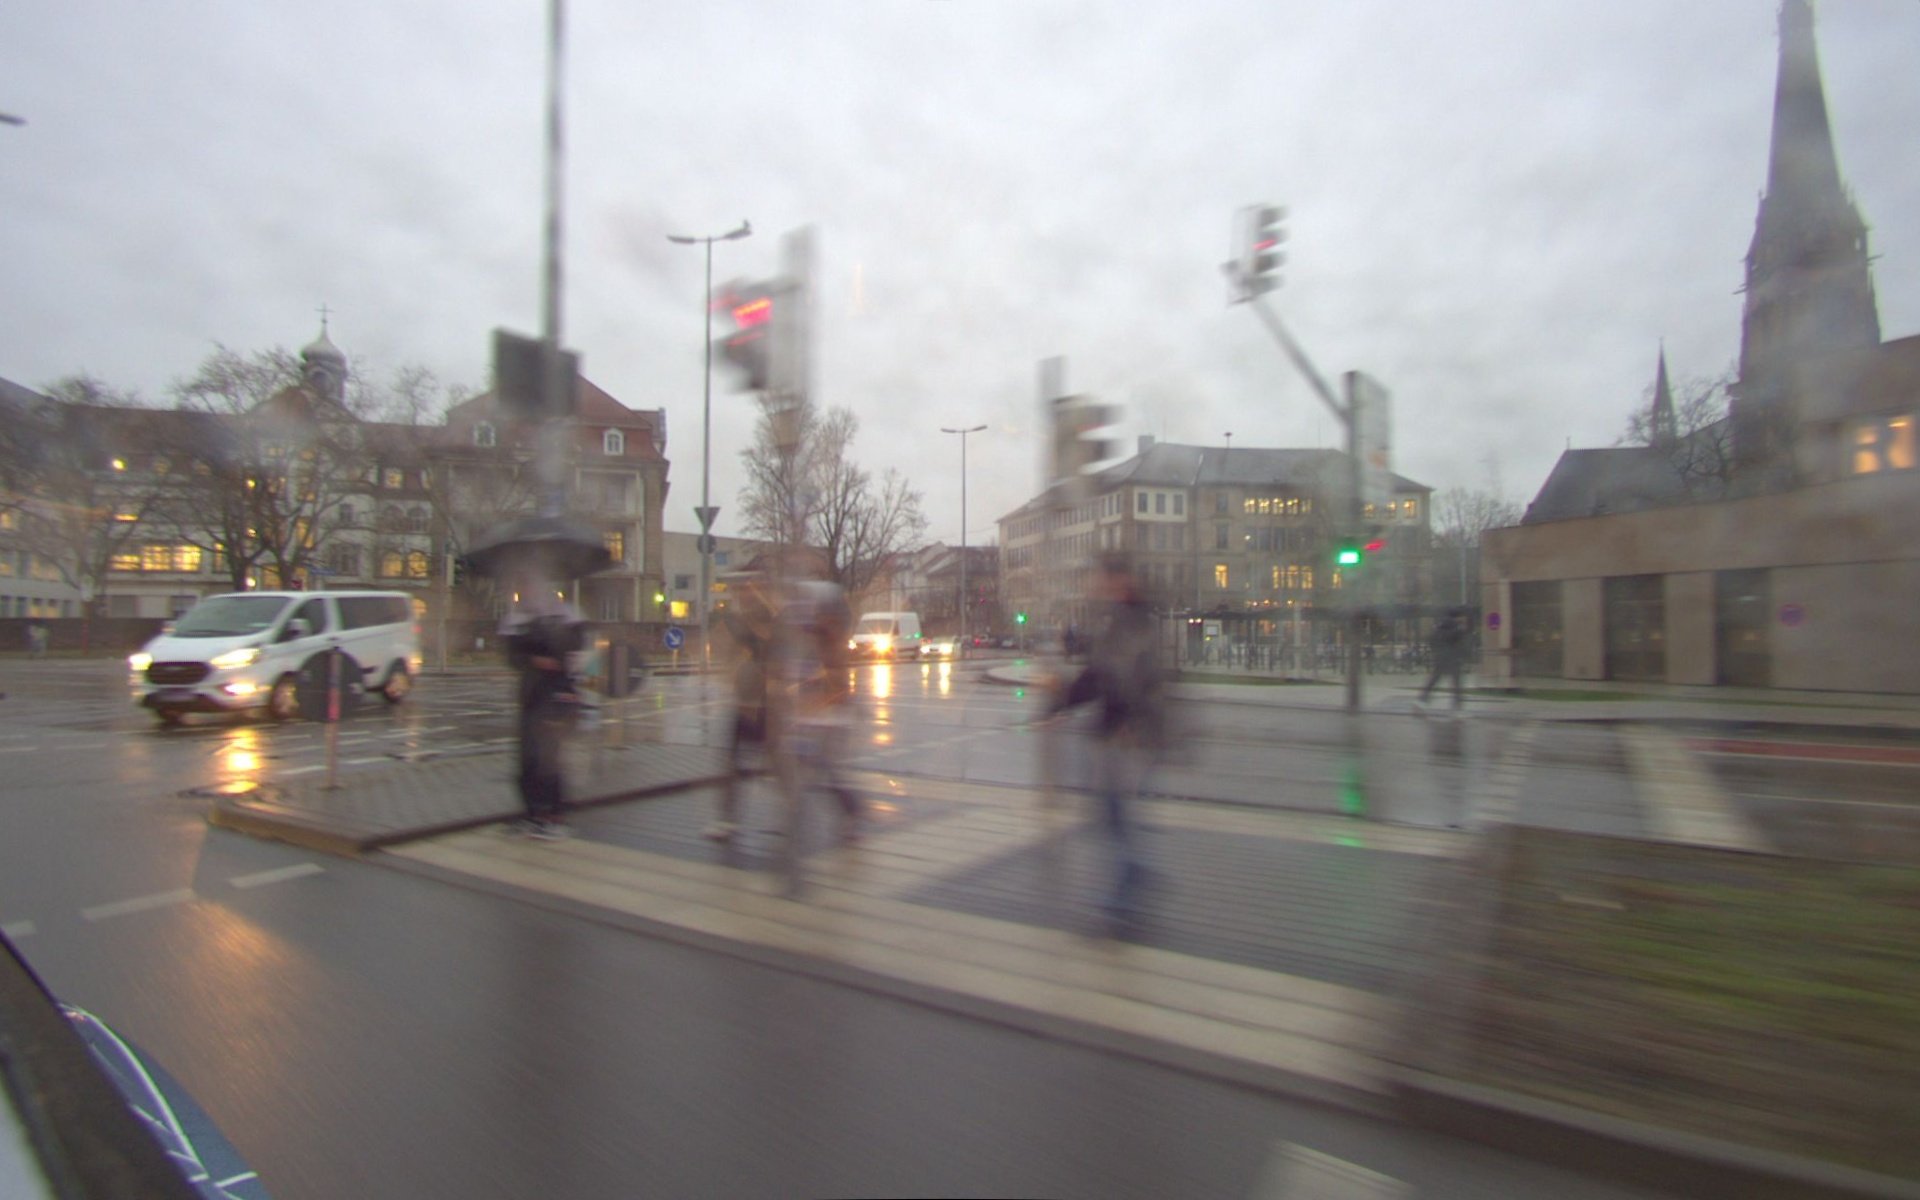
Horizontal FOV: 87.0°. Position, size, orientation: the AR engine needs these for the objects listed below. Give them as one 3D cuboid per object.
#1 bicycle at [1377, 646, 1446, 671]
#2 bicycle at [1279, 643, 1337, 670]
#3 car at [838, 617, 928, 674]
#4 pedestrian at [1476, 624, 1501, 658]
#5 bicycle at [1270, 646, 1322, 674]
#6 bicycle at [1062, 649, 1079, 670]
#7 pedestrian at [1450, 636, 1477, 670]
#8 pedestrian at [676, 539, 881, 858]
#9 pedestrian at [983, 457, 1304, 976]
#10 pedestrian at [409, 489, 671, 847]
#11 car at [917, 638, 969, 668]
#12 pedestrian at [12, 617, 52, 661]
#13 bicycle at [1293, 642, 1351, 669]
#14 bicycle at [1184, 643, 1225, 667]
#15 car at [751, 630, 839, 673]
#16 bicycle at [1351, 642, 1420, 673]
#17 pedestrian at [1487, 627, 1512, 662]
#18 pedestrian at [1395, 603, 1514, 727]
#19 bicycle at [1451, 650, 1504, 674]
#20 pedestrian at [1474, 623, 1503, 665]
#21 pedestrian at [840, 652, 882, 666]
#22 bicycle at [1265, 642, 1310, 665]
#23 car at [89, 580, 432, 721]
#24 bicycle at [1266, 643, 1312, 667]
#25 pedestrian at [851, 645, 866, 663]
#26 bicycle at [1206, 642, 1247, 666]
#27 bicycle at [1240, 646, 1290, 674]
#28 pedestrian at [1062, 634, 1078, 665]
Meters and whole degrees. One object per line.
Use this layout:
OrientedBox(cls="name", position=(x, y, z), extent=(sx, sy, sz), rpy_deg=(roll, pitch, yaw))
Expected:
OrientedBox(cls="bicycle", position=(19.988, 2.562, 44.879), extent=(0.781, 1.058, 3.204), rpy_deg=(1, -3, -20))
OrientedBox(cls="bicycle", position=(15.301, 2.504, 44.549), extent=(0.636, 1.113, 2.759), rpy_deg=(-1, -4, -25))
OrientedBox(cls="car", position=(-3.660, 2.224, 49.487), extent=(2.328, 2.537, 5.833), rpy_deg=(-3, -3, 17))
OrientedBox(cls="pedestrian", position=(29.575, 2.294, 56.659), extent=(1.026, 1.864, 0.844), rpy_deg=(0, -3, 16))
OrientedBox(cls="bicycle", position=(14.299, 2.573, 43.162), extent=(0.636, 1.113, 2.758), rpy_deg=(-1, -3, -15))
OrientedBox(cls="bicycle", position=(6.369, 3.416, 58.333), extent=(0.619, 1.185, 1.862), rpy_deg=(1, -2, 17))
OrientedBox(cls="pedestrian", position=(28.494, 3.003, 57.297), extent=(1.040, 1.864, 0.844), rpy_deg=(-5, -6, 15))
OrientedBox(cls="pedestrian", position=(-1.138, 0.617, 6.594), extent=(1.057, 1.872, 1.034), rpy_deg=(-2, -3, 4))
OrientedBox(cls="pedestrian", position=(0.832, 0.488, 4.628), extent=(1.107, 2.021, 0.838), rpy_deg=(-5, -4, 36))
OrientedBox(cls="pedestrian", position=(-2.730, 0.432, 6.626), extent=(1.032, 2.065, 1.201), rpy_deg=(-4, -4, 33))
OrientedBox(cls="car", position=(-0.944, 3.068, 59.320), extent=(1.822, 1.656, 4.793), rpy_deg=(0, -2, 15))
OrientedBox(cls="pedestrian", position=(-39.687, 1.659, 43.289), extent=(0.939, 1.844, 0.804), rpy_deg=(0, -3, 16))
OrientedBox(cls="bicycle", position=(16.001, 2.459, 44.864), extent=(0.636, 1.113, 2.759), rpy_deg=(-1, -2, -24))
OrientedBox(cls="bicycle", position=(12.028, 2.729, 49.939), extent=(0.636, 1.113, 2.758), rpy_deg=(-1, -3, -15))
OrientedBox(cls="car", position=(-6.422, 2.015, 39.843), extent=(1.739, 1.515, 4.295), rpy_deg=(-3, -3, 15))
OrientedBox(cls="bicycle", position=(16.136, 2.182, 38.466), extent=(0.597, 1.113, 2.759), rpy_deg=(-1, -2, -22))
OrientedBox(cls="pedestrian", position=(29.674, 2.446, 55.683), extent=(1.026, 1.864, 0.844), rpy_deg=(0, -3, 16))
OrientedBox(cls="pedestrian", position=(7.888, 1.034, 16.196), extent=(1.017, 1.872, 1.238), rpy_deg=(-1, -4, -20))
OrientedBox(cls="bicycle", position=(19.531, 2.327, 38.246), extent=(0.596, 0.878, 1.870), rpy_deg=(2, -3, -19))
OrientedBox(cls="pedestrian", position=(22.325, 1.870, 42.771), extent=(0.809, 1.694, 0.844), rpy_deg=(-5, -2, 16))
OrientedBox(cls="pedestrian", position=(-7.414, 4.440, 75.833), extent=(3.048, 0.937, 0.951), rpy_deg=(-1, -3, -14))
OrientedBox(cls="bicycle", position=(16.663, 2.749, 51.555), extent=(0.636, 1.113, 2.759), rpy_deg=(-1, -4, -18))
OrientedBox(cls="car", position=(-11.212, 0.858, 16.830), extent=(2.110, 1.936, 5.012), rpy_deg=(-2, -3, 2))
OrientedBox(cls="bicycle", position=(16.061, 2.680, 49.476), extent=(0.636, 1.113, 2.758), rpy_deg=(-1, -3, -15))
OrientedBox(cls="pedestrian", position=(-7.608, 4.026, 75.841), extent=(0.966, 1.327, 0.817), rpy_deg=(1, -3, -14))
OrientedBox(cls="bicycle", position=(13.182, 2.698, 50.157), extent=(0.636, 1.113, 2.758), rpy_deg=(-1, -3, -15))
OrientedBox(cls="bicycle", position=(12.990, 2.579, 43.164), extent=(0.636, 1.113, 2.758), rpy_deg=(-1, -3, -15))
OrientedBox(cls="pedestrian", position=(6.349, 2.863, 58.406), extent=(0.711, 1.747, 0.976), rpy_deg=(1, -3, 17))
